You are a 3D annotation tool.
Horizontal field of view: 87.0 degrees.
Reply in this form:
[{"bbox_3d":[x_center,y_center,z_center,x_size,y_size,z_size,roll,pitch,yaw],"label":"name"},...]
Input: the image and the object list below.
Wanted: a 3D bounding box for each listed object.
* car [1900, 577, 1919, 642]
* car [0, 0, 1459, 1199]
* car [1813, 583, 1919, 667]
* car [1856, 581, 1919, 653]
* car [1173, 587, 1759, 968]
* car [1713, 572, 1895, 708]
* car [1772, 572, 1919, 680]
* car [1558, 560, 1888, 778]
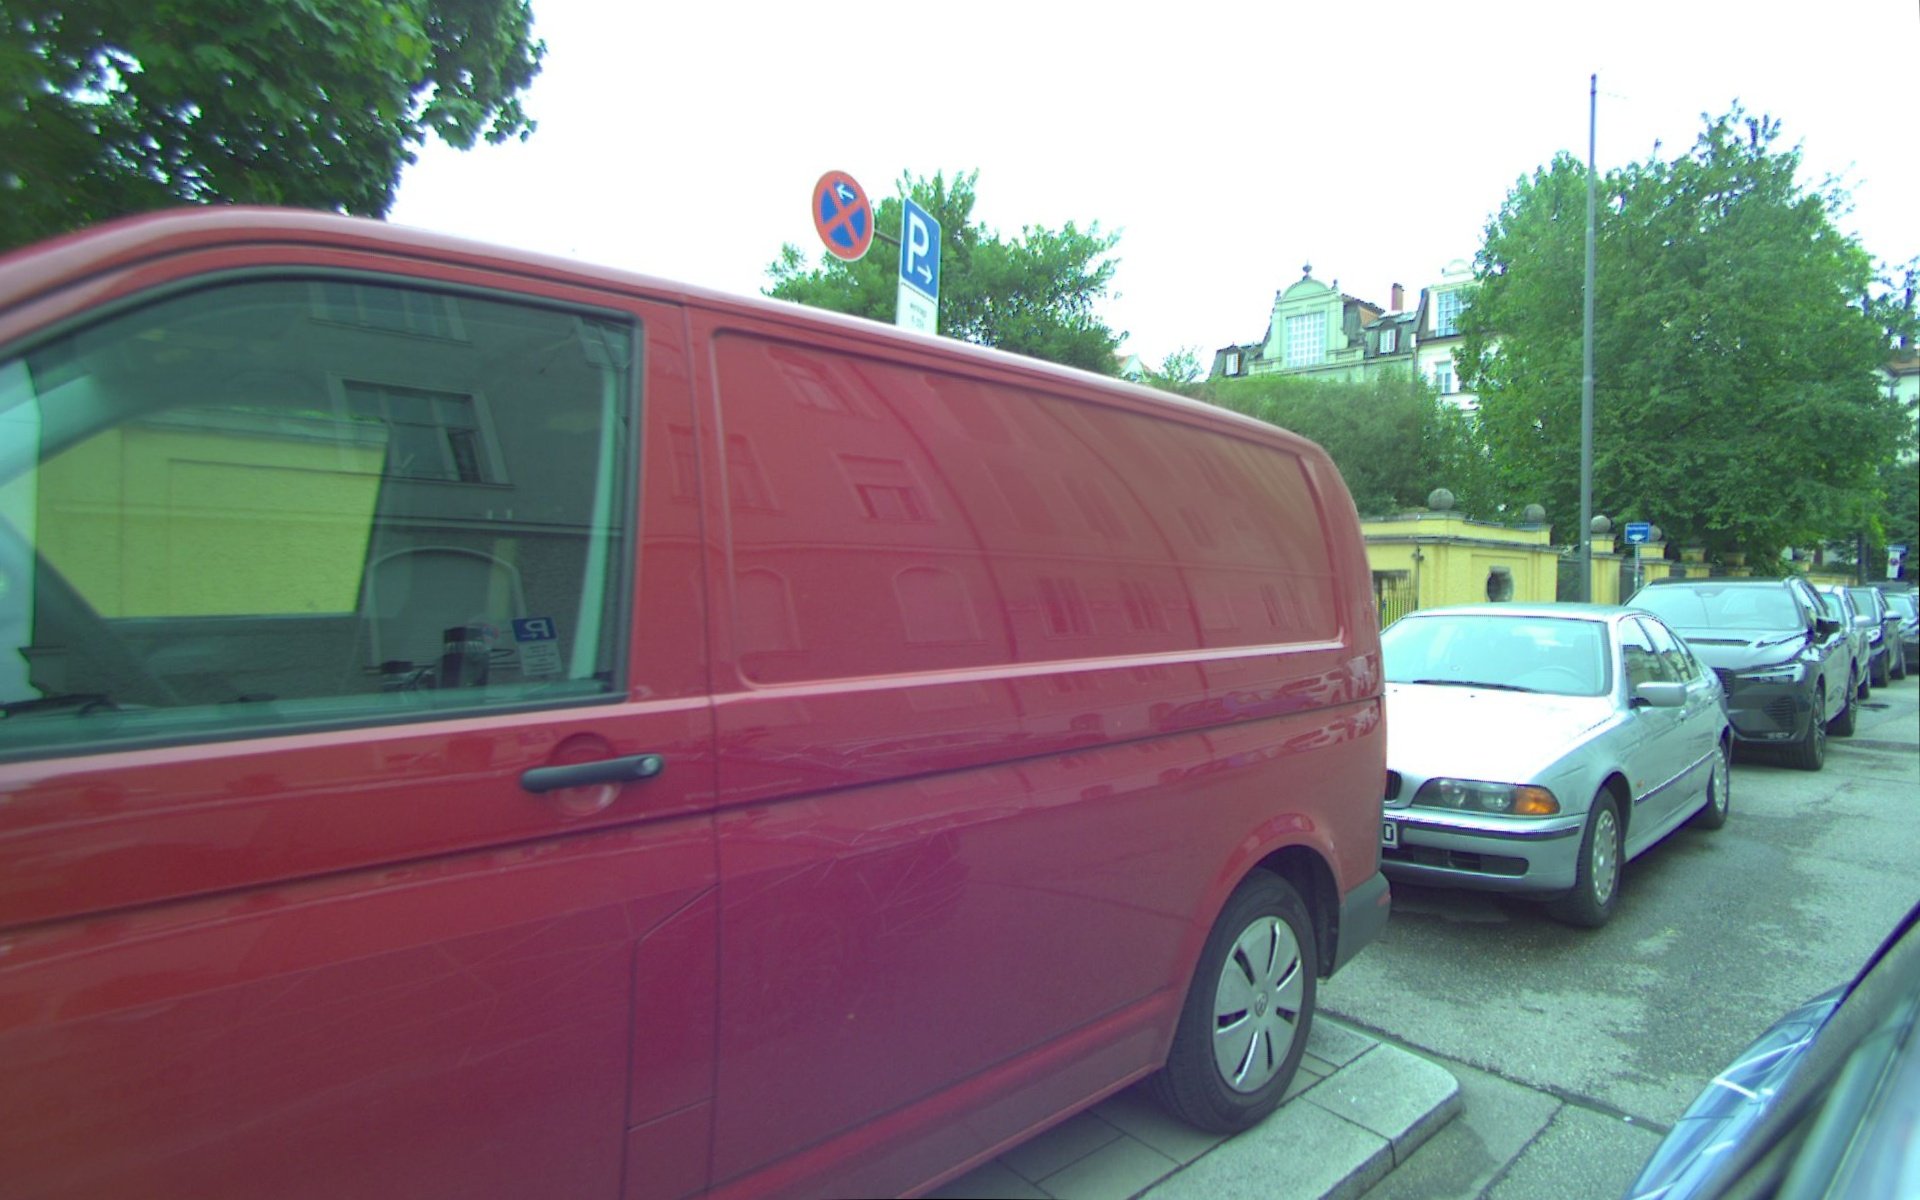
[{"bbox_3d":[25.648,0.236,25.982,4.610,1.590,1.716,-1,2,-41],"label":"car"},{"bbox_3d":[-0.819,0.346,2.261,4.805,1.945,1.876,-1,1,-43],"label":"car"},{"bbox_3d":[17.410,0.406,18.954,3.968,1.432,1.694,-1,0,-43],"label":"car"},{"bbox_3d":[21.135,0.327,22.138,4.437,1.432,1.695,-1,2,-41],"label":"car"},{"bbox_3d":[3.296,0.671,6.115,4.297,1.467,1.885,-1,0,-45],"label":"car"},{"bbox_3d":[11.250,0.437,13.413,3.632,1.559,1.485,-1,0,-44],"label":"car"},{"bbox_3d":[14.439,0.368,16.381,2.819,1.586,1.510,-1,0,-40],"label":"car"},{"bbox_3d":[7.770,0.504,10.102,4.744,1.674,1.886,-1,0,-44],"label":"car"}]
